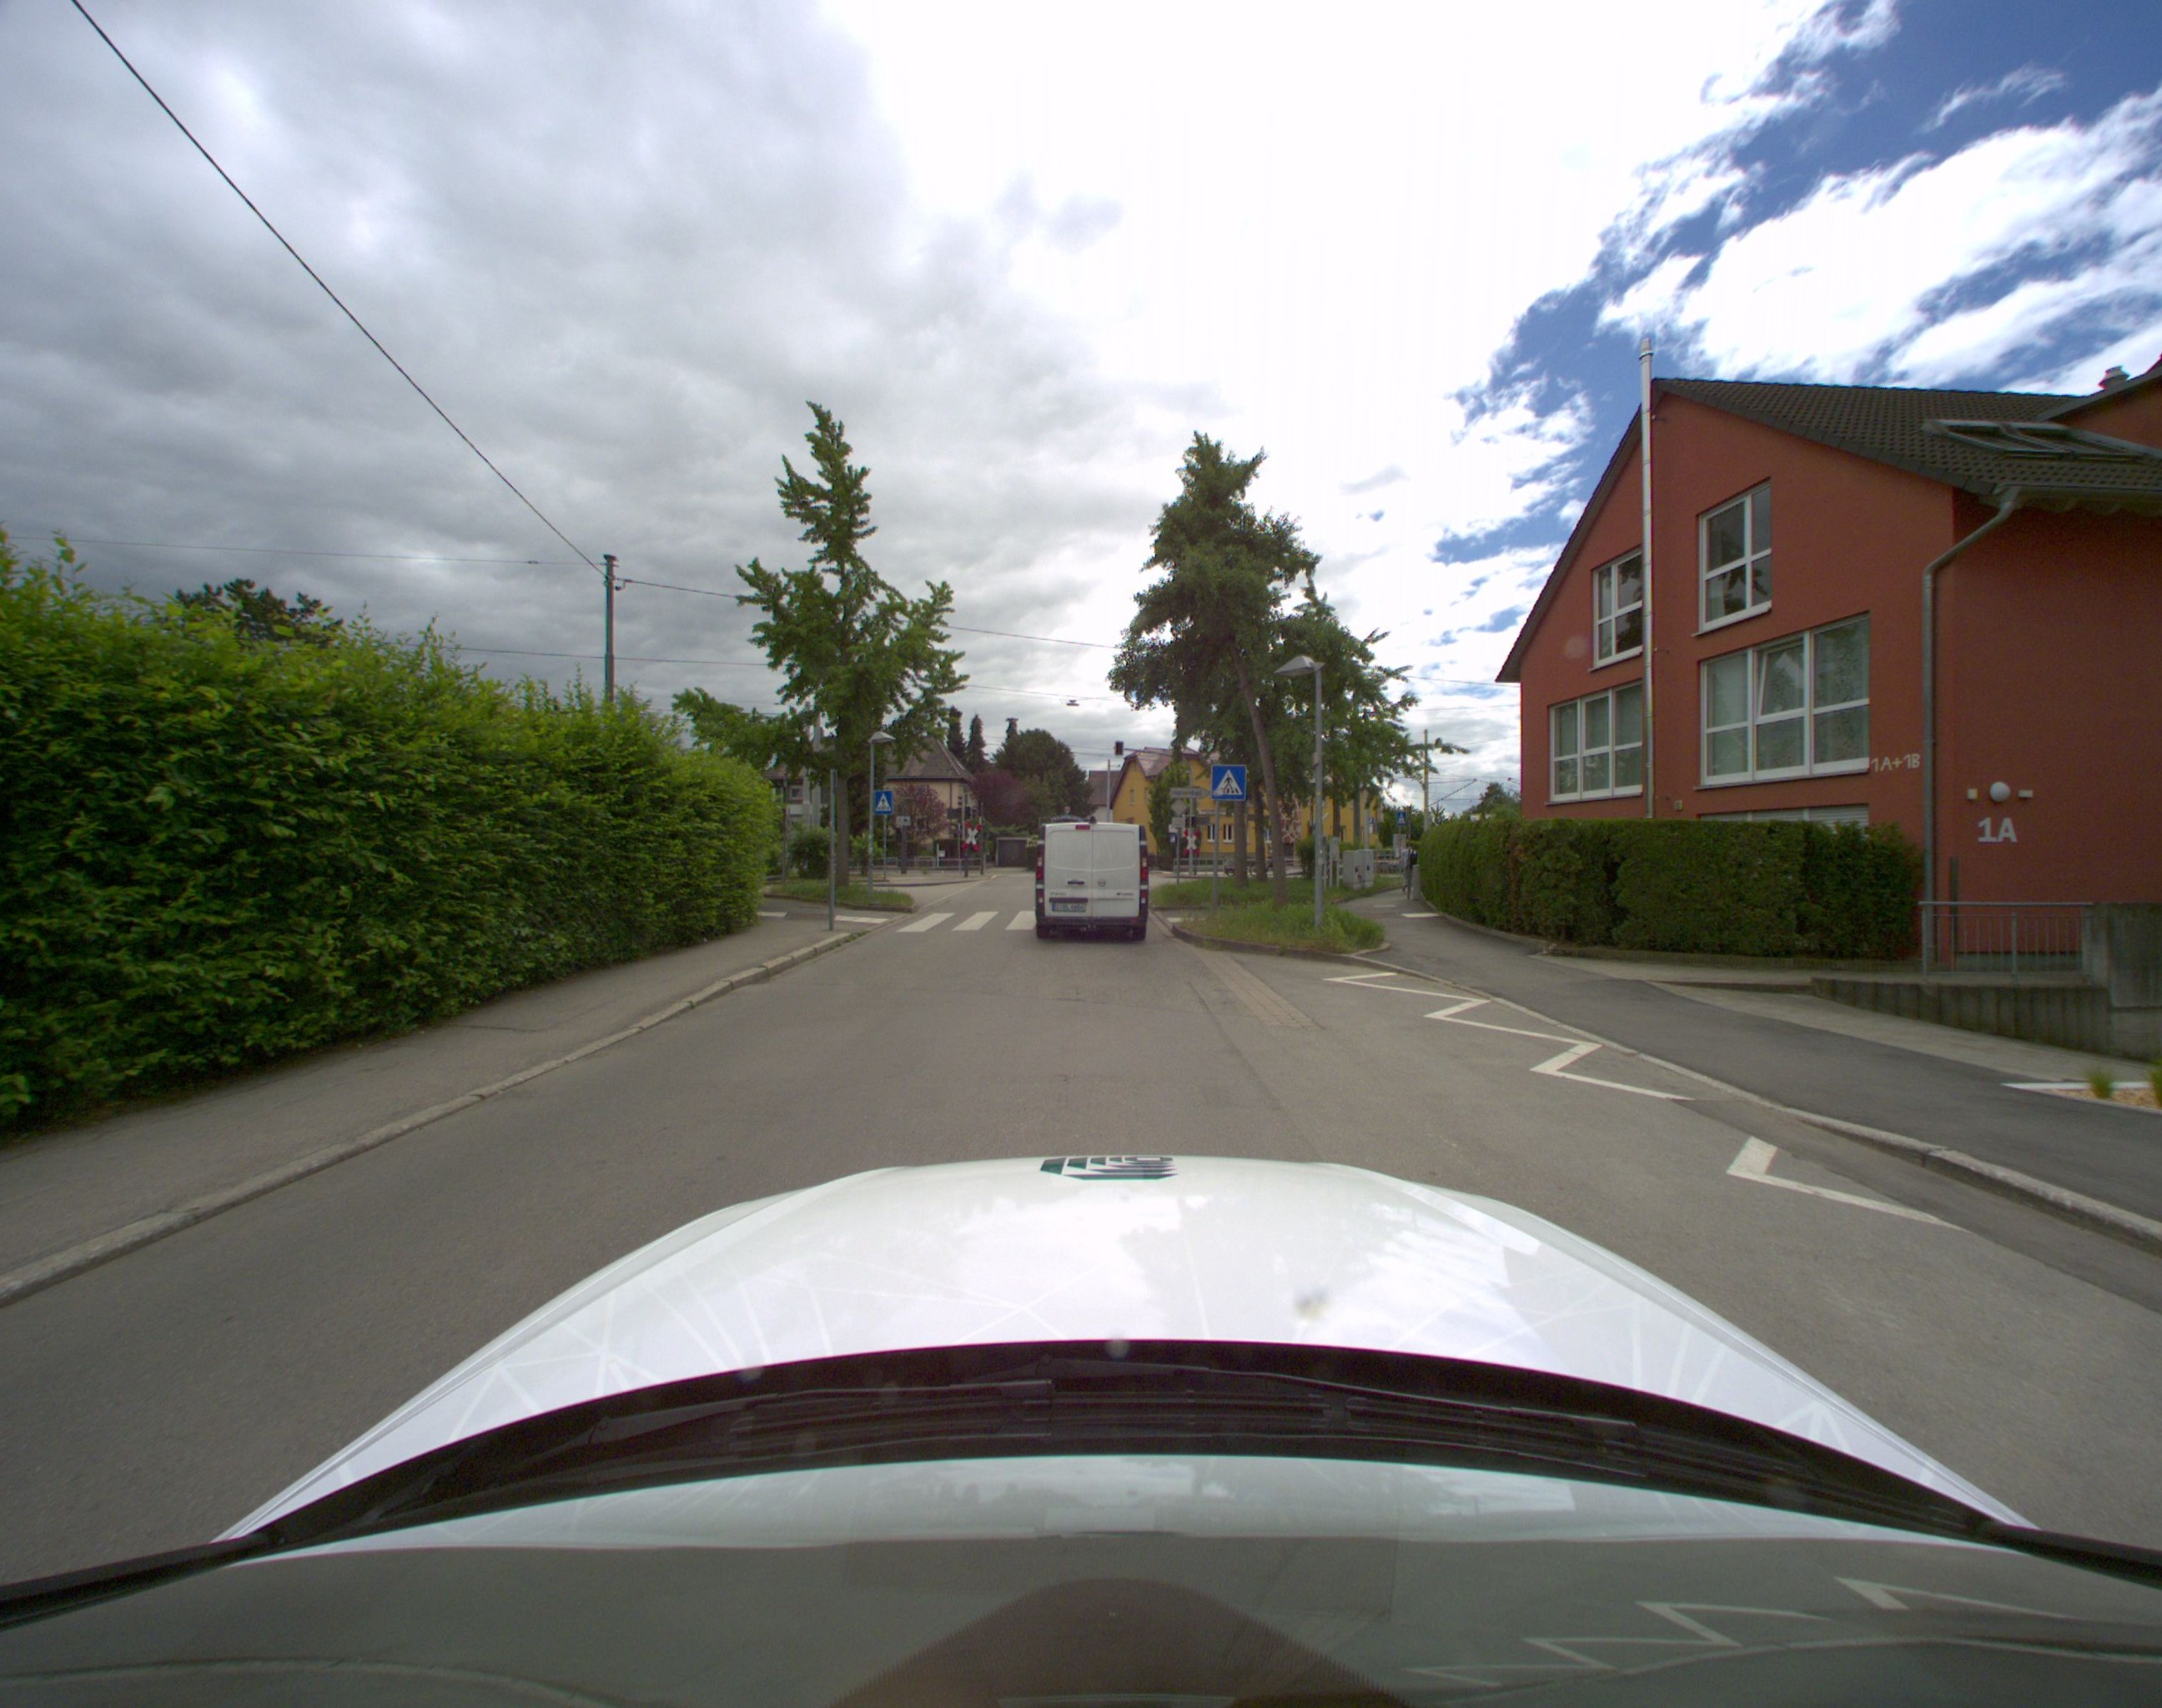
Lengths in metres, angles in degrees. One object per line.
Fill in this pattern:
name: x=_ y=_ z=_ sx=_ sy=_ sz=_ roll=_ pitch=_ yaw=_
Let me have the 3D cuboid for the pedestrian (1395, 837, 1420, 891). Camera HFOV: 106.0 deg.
pedestrian: x=11.747 y=0.348 z=29.299 sx=0.617 sy=1.914 sz=0.836 roll=-1 pitch=0 yaw=36

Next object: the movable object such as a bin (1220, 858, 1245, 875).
movable object such as a bin: x=7.541 y=0.633 z=40.499 sx=1.089 sy=0.824 sz=0.578 roll=1 pitch=0 yaw=-5

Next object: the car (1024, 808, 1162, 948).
car: x=0.132 y=0.360 z=15.306 sx=2.111 sy=2.134 sz=5.438 roll=1 pitch=0 yaw=-1

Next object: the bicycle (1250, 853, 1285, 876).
bicycle: x=9.267 y=0.526 z=40.498 sx=1.686 sy=1.155 sz=0.465 roll=0 pitch=0 yaw=-8
